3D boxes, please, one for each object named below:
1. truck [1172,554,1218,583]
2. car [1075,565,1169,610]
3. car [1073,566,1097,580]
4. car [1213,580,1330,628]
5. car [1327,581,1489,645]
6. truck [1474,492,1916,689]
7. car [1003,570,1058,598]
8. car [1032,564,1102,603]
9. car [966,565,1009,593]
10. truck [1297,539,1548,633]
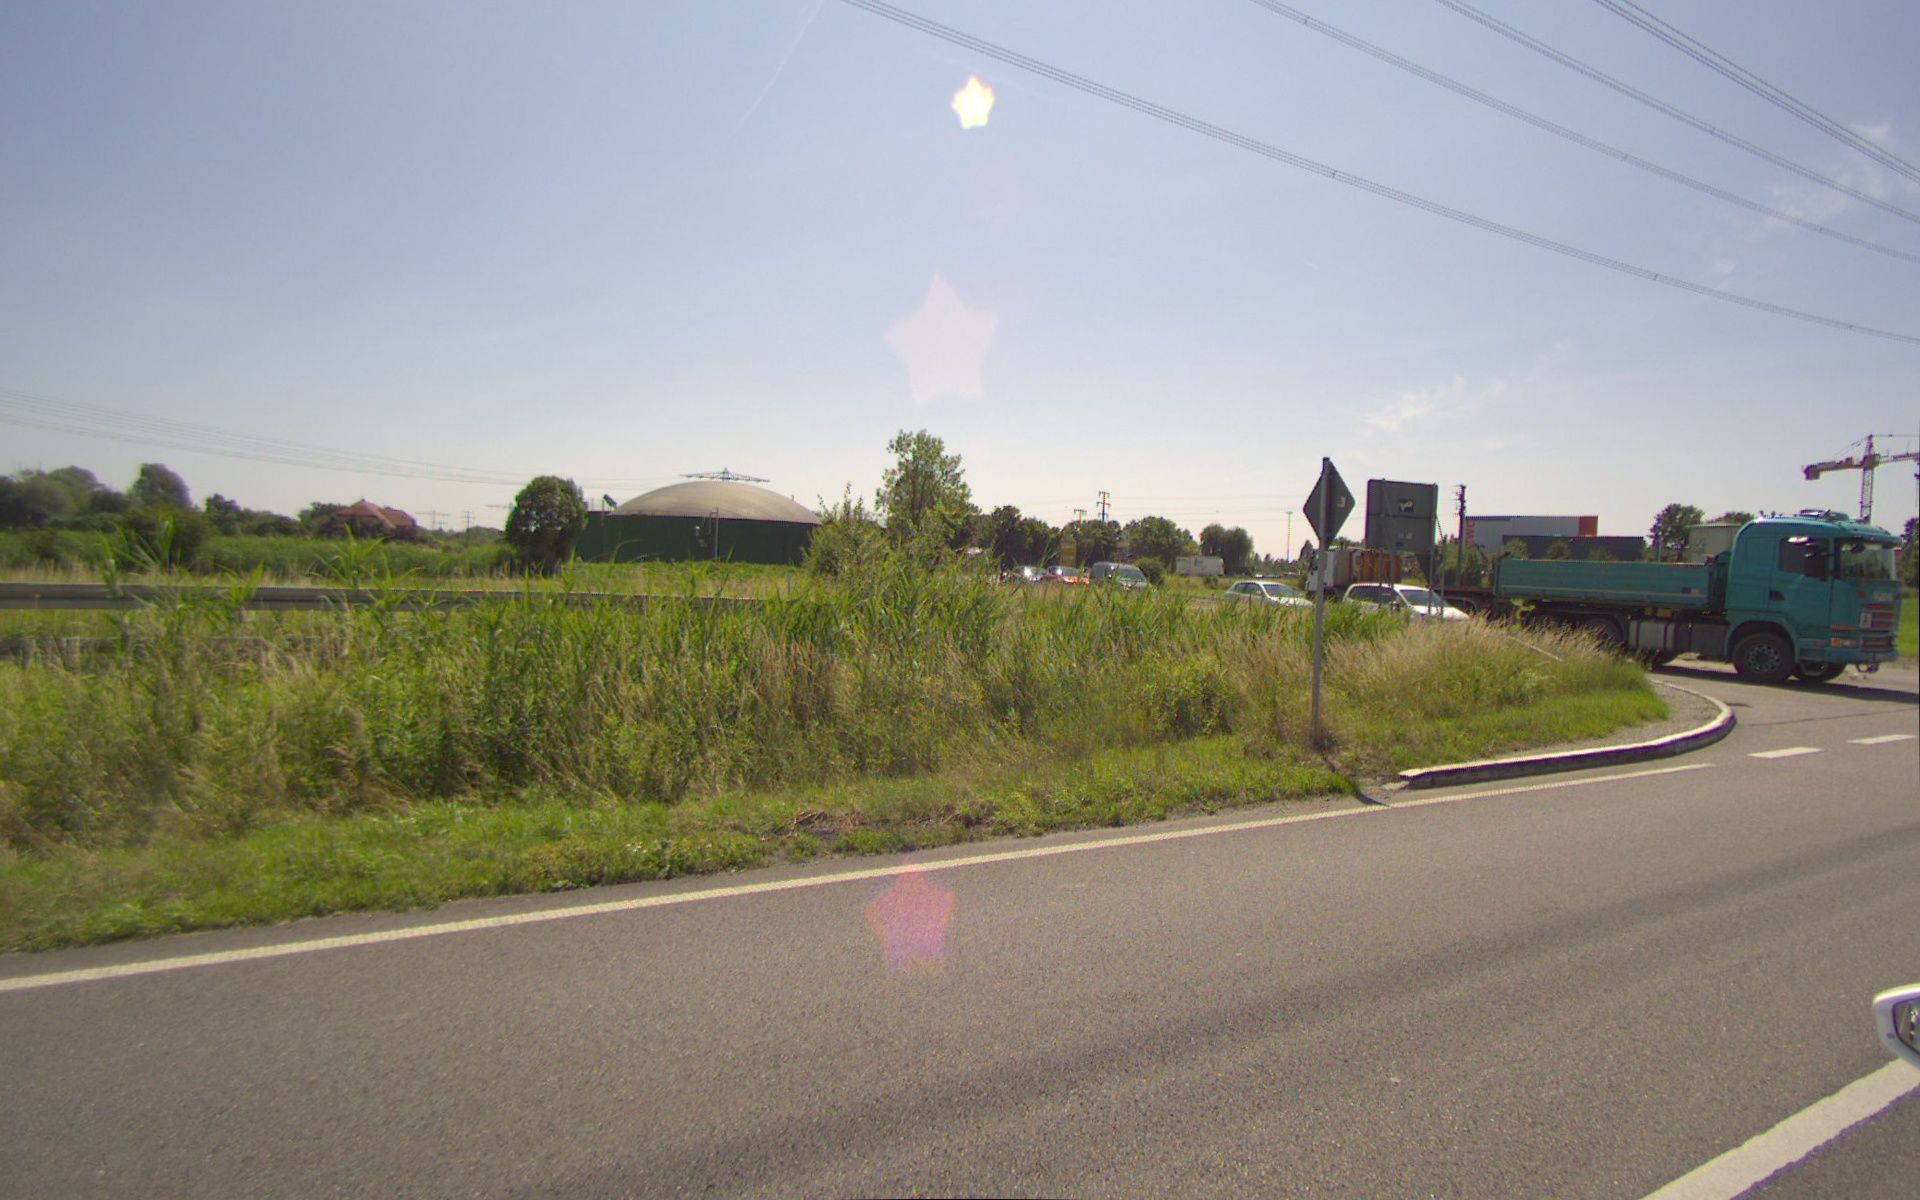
[{"bbox_3d":[41.441,-5.473,176.485,3.626,4.708,13.207,3,1,32],"label":"truck"},{"bbox_3d":[7.313,-0.602,45.865,2.057,1.893,4.927,0,2,-21],"label":"car"},{"bbox_3d":[16.985,-3.641,135.997,1.963,1.702,3.994,2,1,27],"label":"car"},{"bbox_3d":[10.948,0.110,35.658,1.691,1.490,4.427,1,1,-18],"label":"car"},{"bbox_3d":[13.163,0.326,29.867,1.935,1.634,4.541,1,2,-15],"label":"car"},{"bbox_3d":[16.411,-0.364,23.340,2.466,3.785,7.874,1,3,-27],"label":"truck"},{"bbox_3d":[4.020,-0.953,58.107,1.754,1.498,3.983,1,2,-18],"label":"car"},{"bbox_3d":[5.518,-0.885,52.356,1.886,1.874,4.464,1,2,-18],"label":"car"},{"bbox_3d":[1.778,-1.352,65.869,1.965,1.691,3.991,1,1,-11],"label":"car"},{"bbox_3d":[18.262,-0.573,40.667,2.792,3.332,9.635,0,1,-26],"label":"truck"}]
